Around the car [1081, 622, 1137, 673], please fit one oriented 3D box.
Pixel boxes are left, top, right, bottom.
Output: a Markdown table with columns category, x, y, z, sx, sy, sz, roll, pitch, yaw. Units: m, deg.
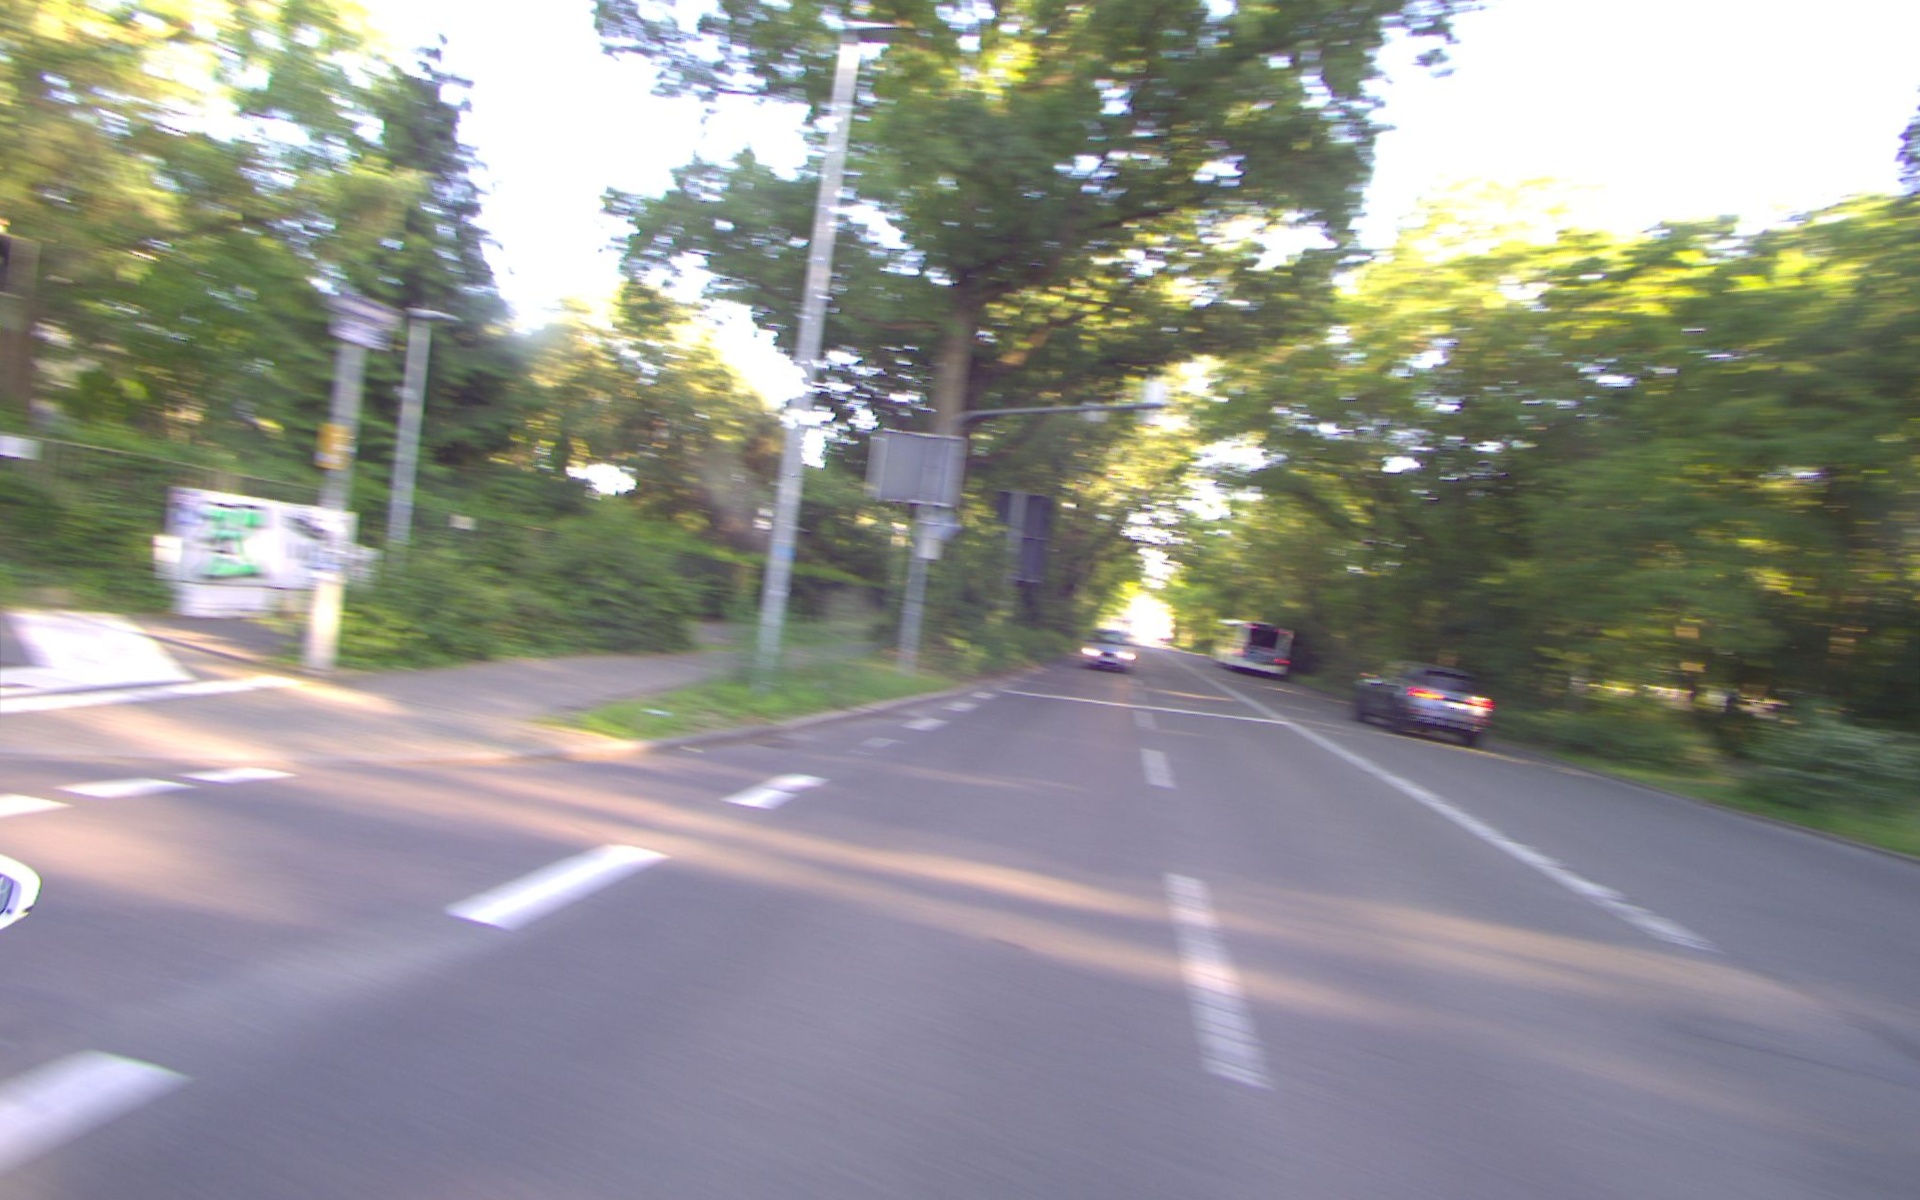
| category | x | y | z | sx | sy | sz | roll | pitch | yaw |
| --- | --- | --- | --- | --- | --- | --- | --- | --- | --- |
| car | 5.506 | 1.691 | 36.974 | 1.778 | 1.600 | 4.320 | 5 | 0 | 9 |

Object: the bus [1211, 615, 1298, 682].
| category | x | y | z | sx | sy | sz | roll | pitch | yaw |
| --- | --- | --- | --- | --- | --- | --- | --- | --- | --- |
| bus | 17.436 | 2.737 | 60.549 | 2.965 | 3.124 | 12.273 | 10 | 1 | 9 |

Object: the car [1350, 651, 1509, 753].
| category | x | y | z | sx | sy | sz | roll | pitch | yaw |
| --- | --- | --- | --- | --- | --- | --- | --- | --- | --- |
| car | 10.717 | 2.255 | 23.372 | 1.957 | 1.626 | 4.364 | 11 | 1 | 9 |
